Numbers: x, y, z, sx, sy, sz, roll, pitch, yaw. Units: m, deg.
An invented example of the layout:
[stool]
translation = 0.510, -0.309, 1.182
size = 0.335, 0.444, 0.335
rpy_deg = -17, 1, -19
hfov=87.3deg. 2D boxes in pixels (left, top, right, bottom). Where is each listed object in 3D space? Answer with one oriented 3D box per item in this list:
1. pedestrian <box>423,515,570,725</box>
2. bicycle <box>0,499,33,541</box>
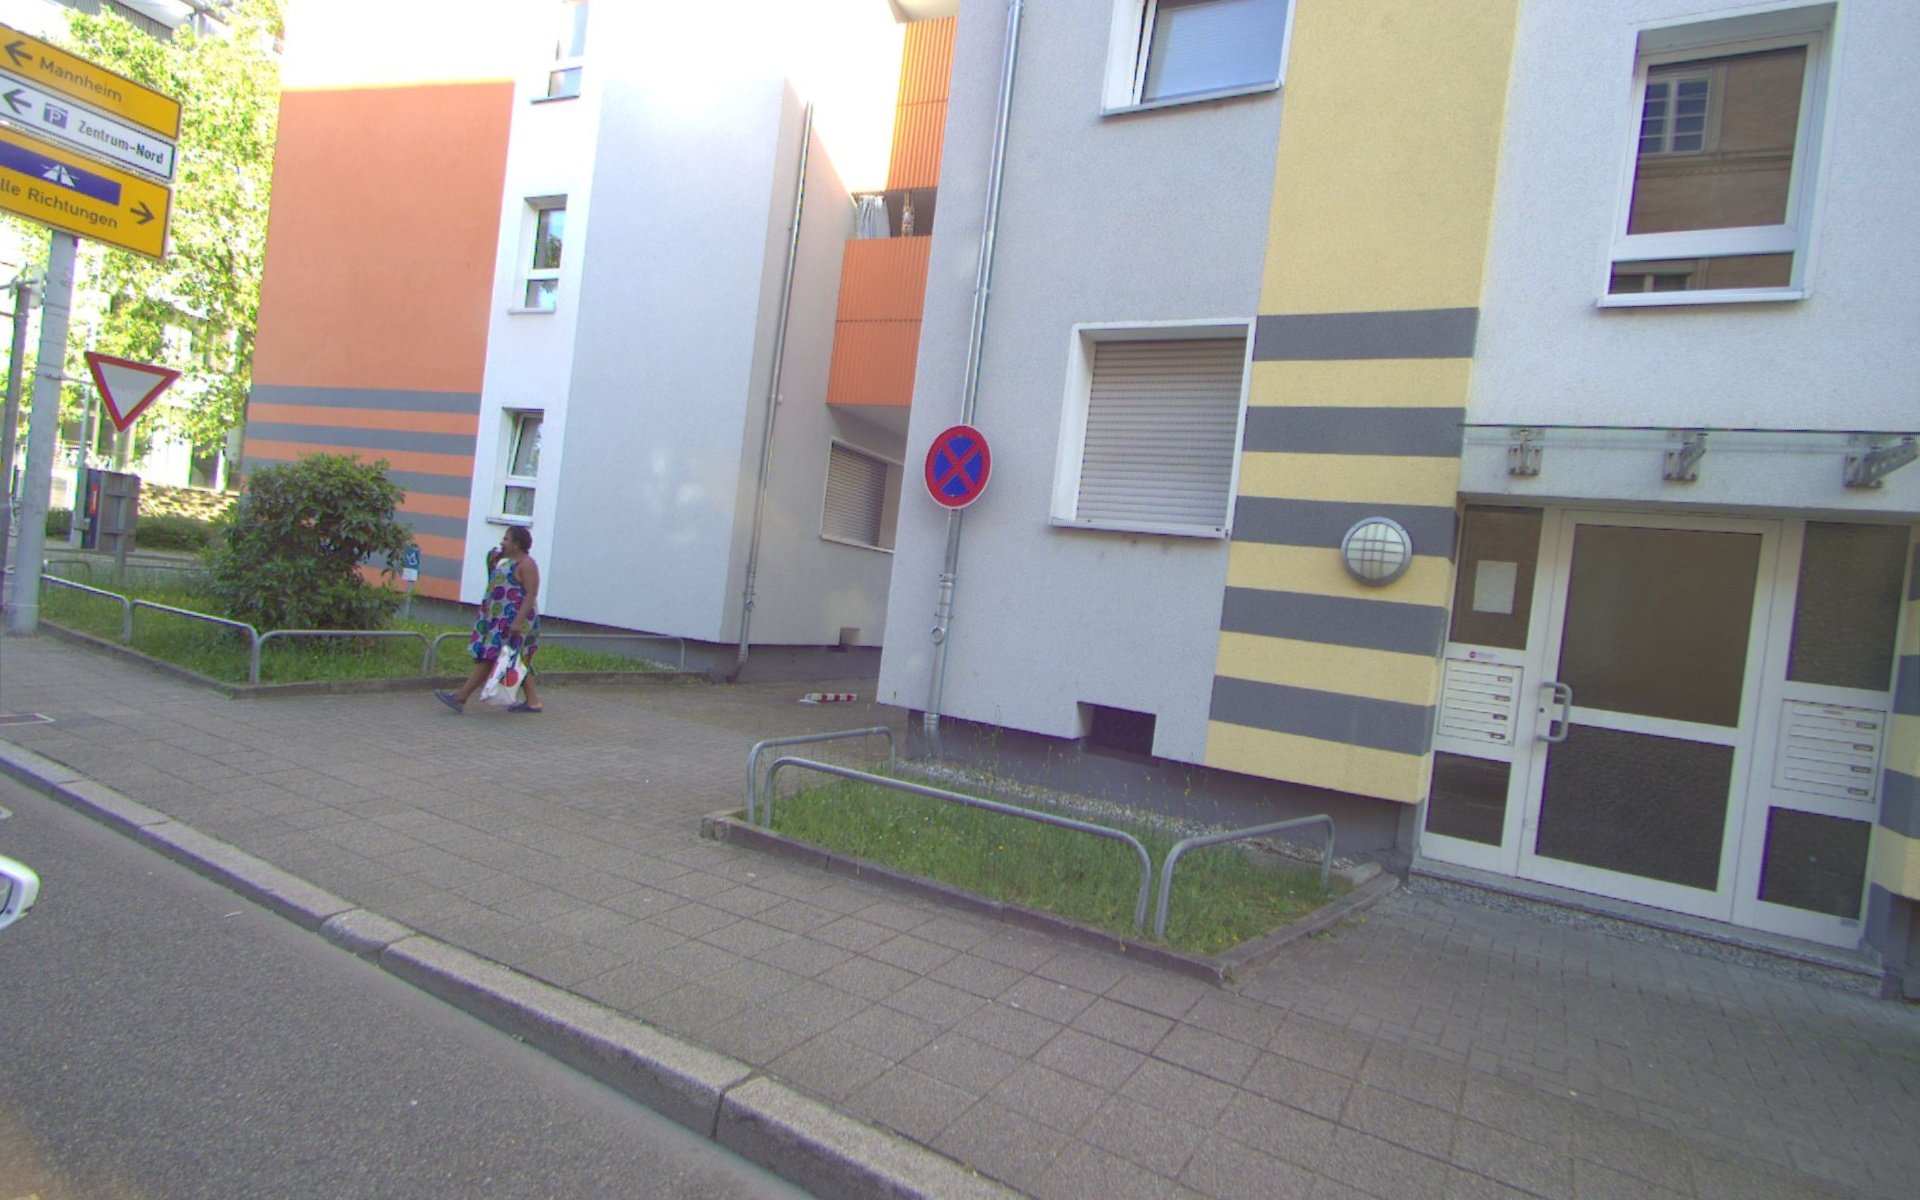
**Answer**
[pedestrian]
translation = -3.852, 0.154, 8.338
size = 0.745, 1.594, 0.945
rpy_deg = 4, 4, -43
[bicycle]
translation = -26.440, -2.260, 27.292
size = 1.883, 1.062, 0.463
rpy_deg = 7, 1, -10
